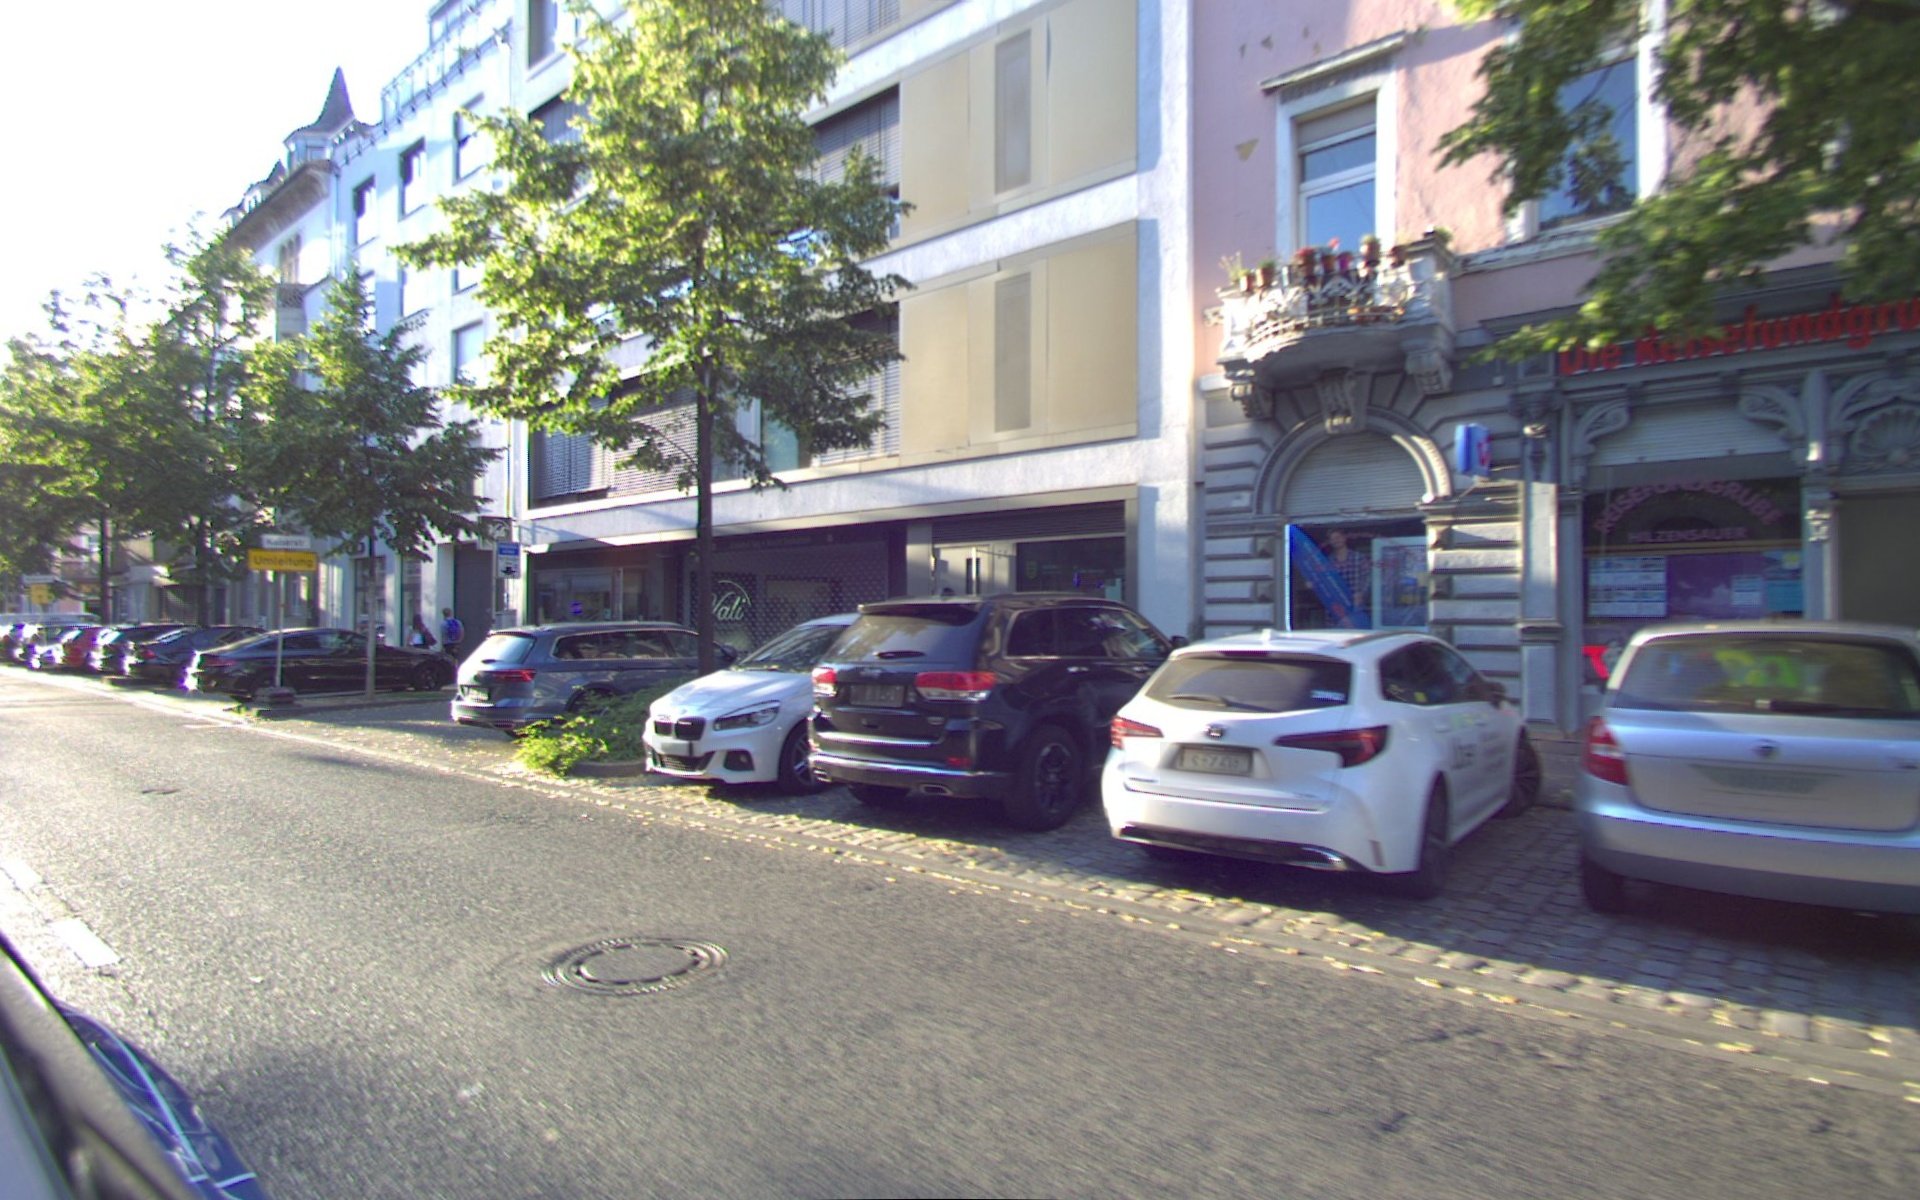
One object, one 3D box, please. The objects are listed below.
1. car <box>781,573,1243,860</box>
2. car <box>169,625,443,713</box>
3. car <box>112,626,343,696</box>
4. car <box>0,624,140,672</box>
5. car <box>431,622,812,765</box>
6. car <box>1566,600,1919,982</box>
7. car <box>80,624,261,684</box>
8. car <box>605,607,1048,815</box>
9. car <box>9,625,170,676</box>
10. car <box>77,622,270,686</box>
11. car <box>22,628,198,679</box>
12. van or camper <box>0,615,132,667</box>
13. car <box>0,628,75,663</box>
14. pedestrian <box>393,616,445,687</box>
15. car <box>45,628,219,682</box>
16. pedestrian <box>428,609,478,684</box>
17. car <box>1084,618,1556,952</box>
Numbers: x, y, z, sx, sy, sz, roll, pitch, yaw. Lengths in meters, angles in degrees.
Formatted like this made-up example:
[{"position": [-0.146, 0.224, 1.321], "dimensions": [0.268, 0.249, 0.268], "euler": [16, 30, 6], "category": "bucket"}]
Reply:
[{"position": [0.674, 0.740, 8.529], "dimensions": [1.887, 1.786, 4.110], "euler": [-1, -1, 38], "category": "car"}, {"position": [-12.758, 1.273, 19.960], "dimensions": [1.743, 1.495, 4.231], "euler": [-2, -2, 40], "category": "car"}, {"position": [-17.602, 1.396, 24.508], "dimensions": [1.742, 1.495, 4.234], "euler": [-2, -1, 38], "category": "car"}, {"position": [-33.975, 1.785, 38.496], "dimensions": [1.732, 1.681, 4.138], "euler": [-1, -1, 42], "category": "car"}, {"position": [-4.214, 1.066, 13.246], "dimensions": [1.743, 1.495, 4.502], "euler": [-2, -2, 40], "category": "car"}, {"position": [4.650, 0.770, 5.640], "dimensions": [1.714, 1.513, 3.521], "euler": [-1, -1, 39], "category": "car"}, {"position": [-22.818, 1.521, 29.361], "dimensions": [1.742, 1.579, 3.829], "euler": [-2, -2, 38], "category": "car"}, {"position": [-1.117, 0.910, 10.265], "dimensions": [1.888, 1.608, 4.363], "euler": [-2, -1, 39], "category": "car"}, {"position": [-30.147, 1.705, 35.132], "dimensions": [4.135, 1.548, 1.745], "euler": [-1, 0, -45], "category": "car"}, {"position": [-21.276, 1.405, 27.495], "dimensions": [1.742, 1.579, 3.829], "euler": [-2, -2, 38], "category": "car"}, {"position": [-26.871, 1.666, 32.102], "dimensions": [1.741, 1.397, 4.004], "euler": [-2, -1, 36], "category": "car"}, {"position": [-35.974, 1.604, 40.308], "dimensions": [1.788, 1.971, 4.411], "euler": [-2, -2, 41], "category": "van or camper"}, {"position": [-44.043, 2.098, 46.859], "dimensions": [1.812, 1.536, 4.384], "euler": [-2, -1, 39], "category": "car"}, {"position": [-12.858, 1.211, 24.041], "dimensions": [1.094, 1.614, 0.712], "euler": [-2, 0, 41], "category": "pedestrian"}, {"position": [-25.044, 1.615, 30.716], "dimensions": [1.742, 1.468, 3.829], "euler": [-2, -1, 38], "category": "car"}, {"position": [-12.289, 1.108, 24.527], "dimensions": [0.933, 1.762, 0.712], "euler": [-2, 0, 41], "category": "pedestrian"}, {"position": [2.642, 0.876, 6.727], "dimensions": [1.764, 1.432, 4.110], "euler": [-1, -1, 38], "category": "car"}]
